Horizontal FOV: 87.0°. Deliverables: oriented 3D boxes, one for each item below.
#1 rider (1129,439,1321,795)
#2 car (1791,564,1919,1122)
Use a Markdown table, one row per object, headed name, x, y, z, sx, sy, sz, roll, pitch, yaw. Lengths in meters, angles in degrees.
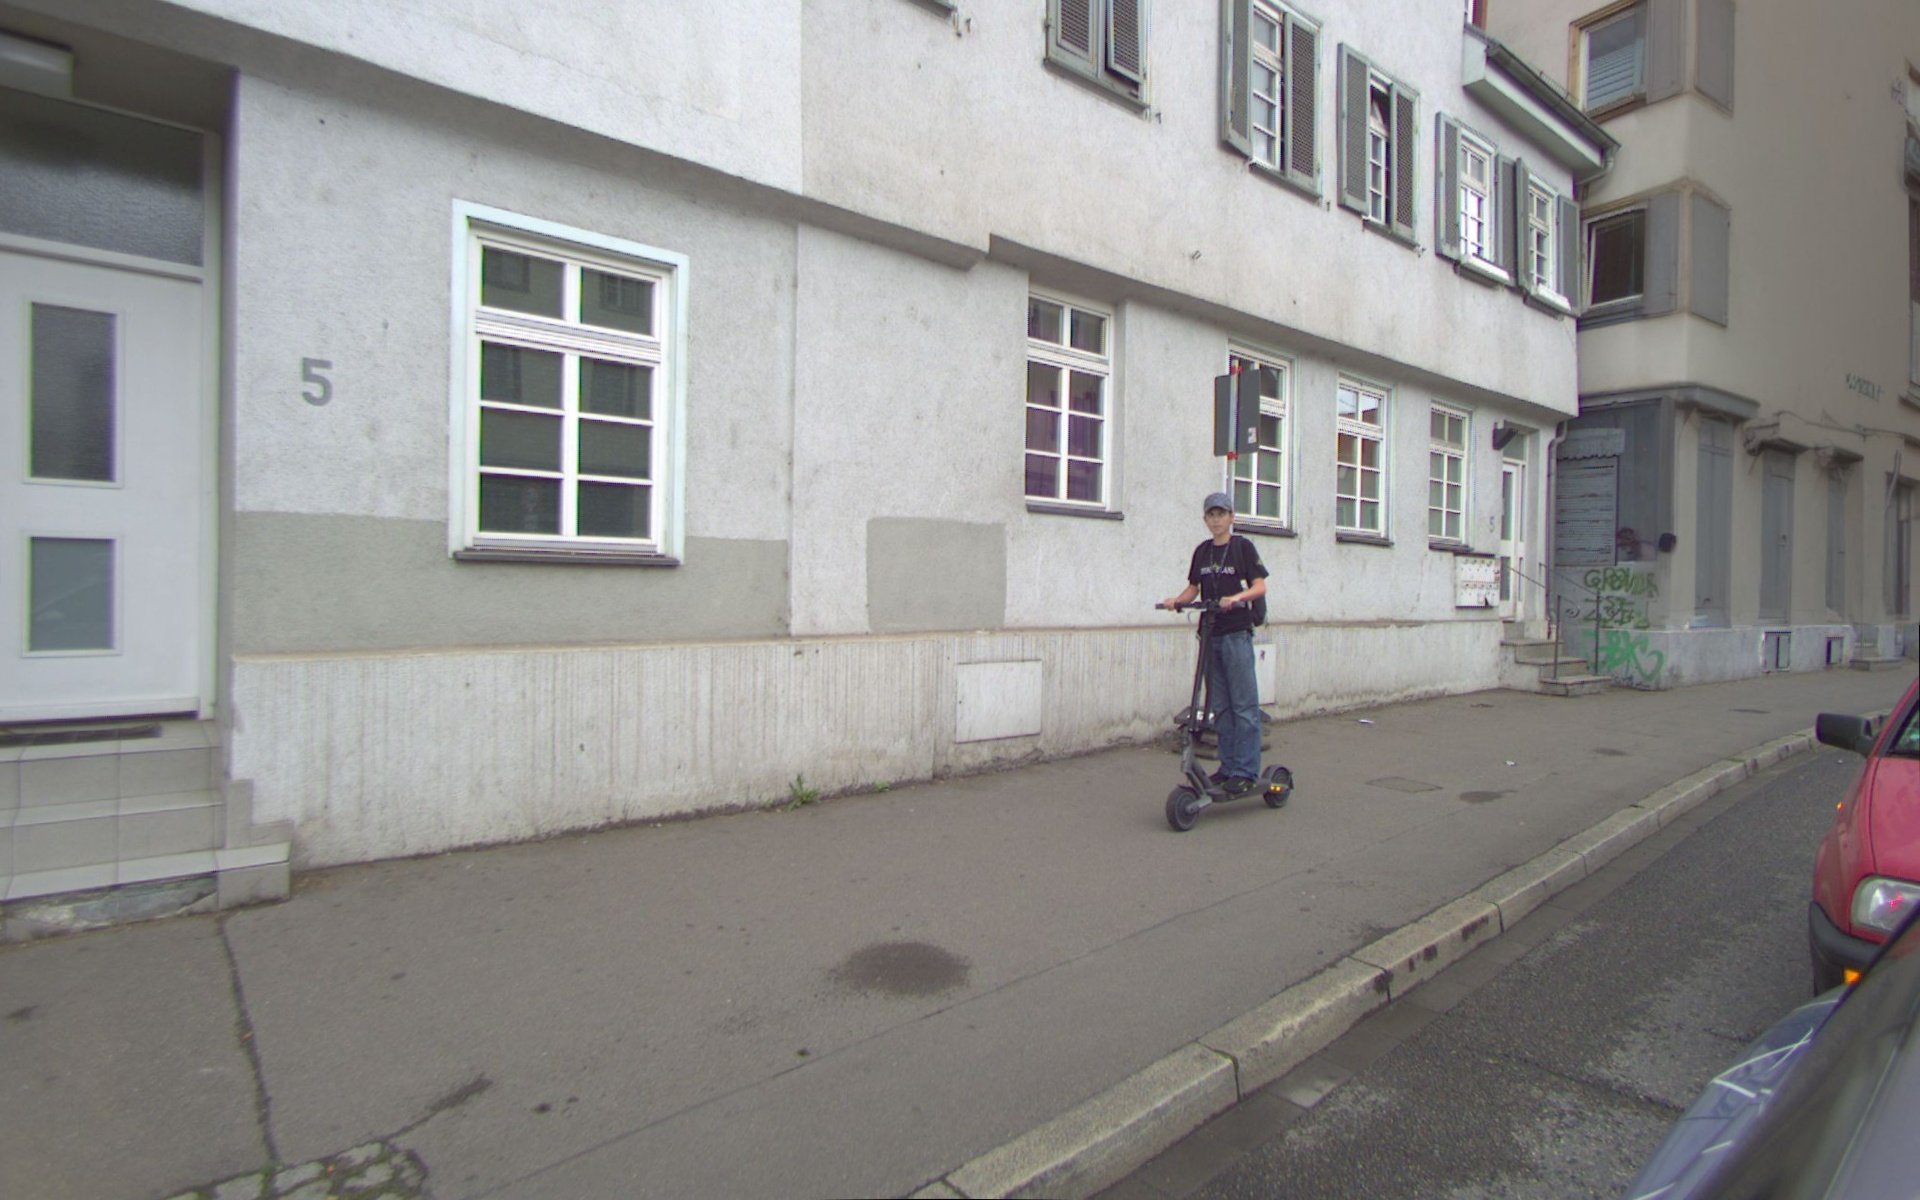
| name | x | y | z | sx | sy | sz | roll | pitch | yaw |
| --- | --- | --- | --- | --- | --- | --- | --- | --- | --- |
| rider | 1.528 | 0.081 | 5.844 | 0.783 | 1.870 | 0.719 | 1 | 1 | -41 |
| car | 4.413 | 0.600 | 3.497 | 3.931 | 1.443 | 1.791 | -3 | 2 | -41 |
